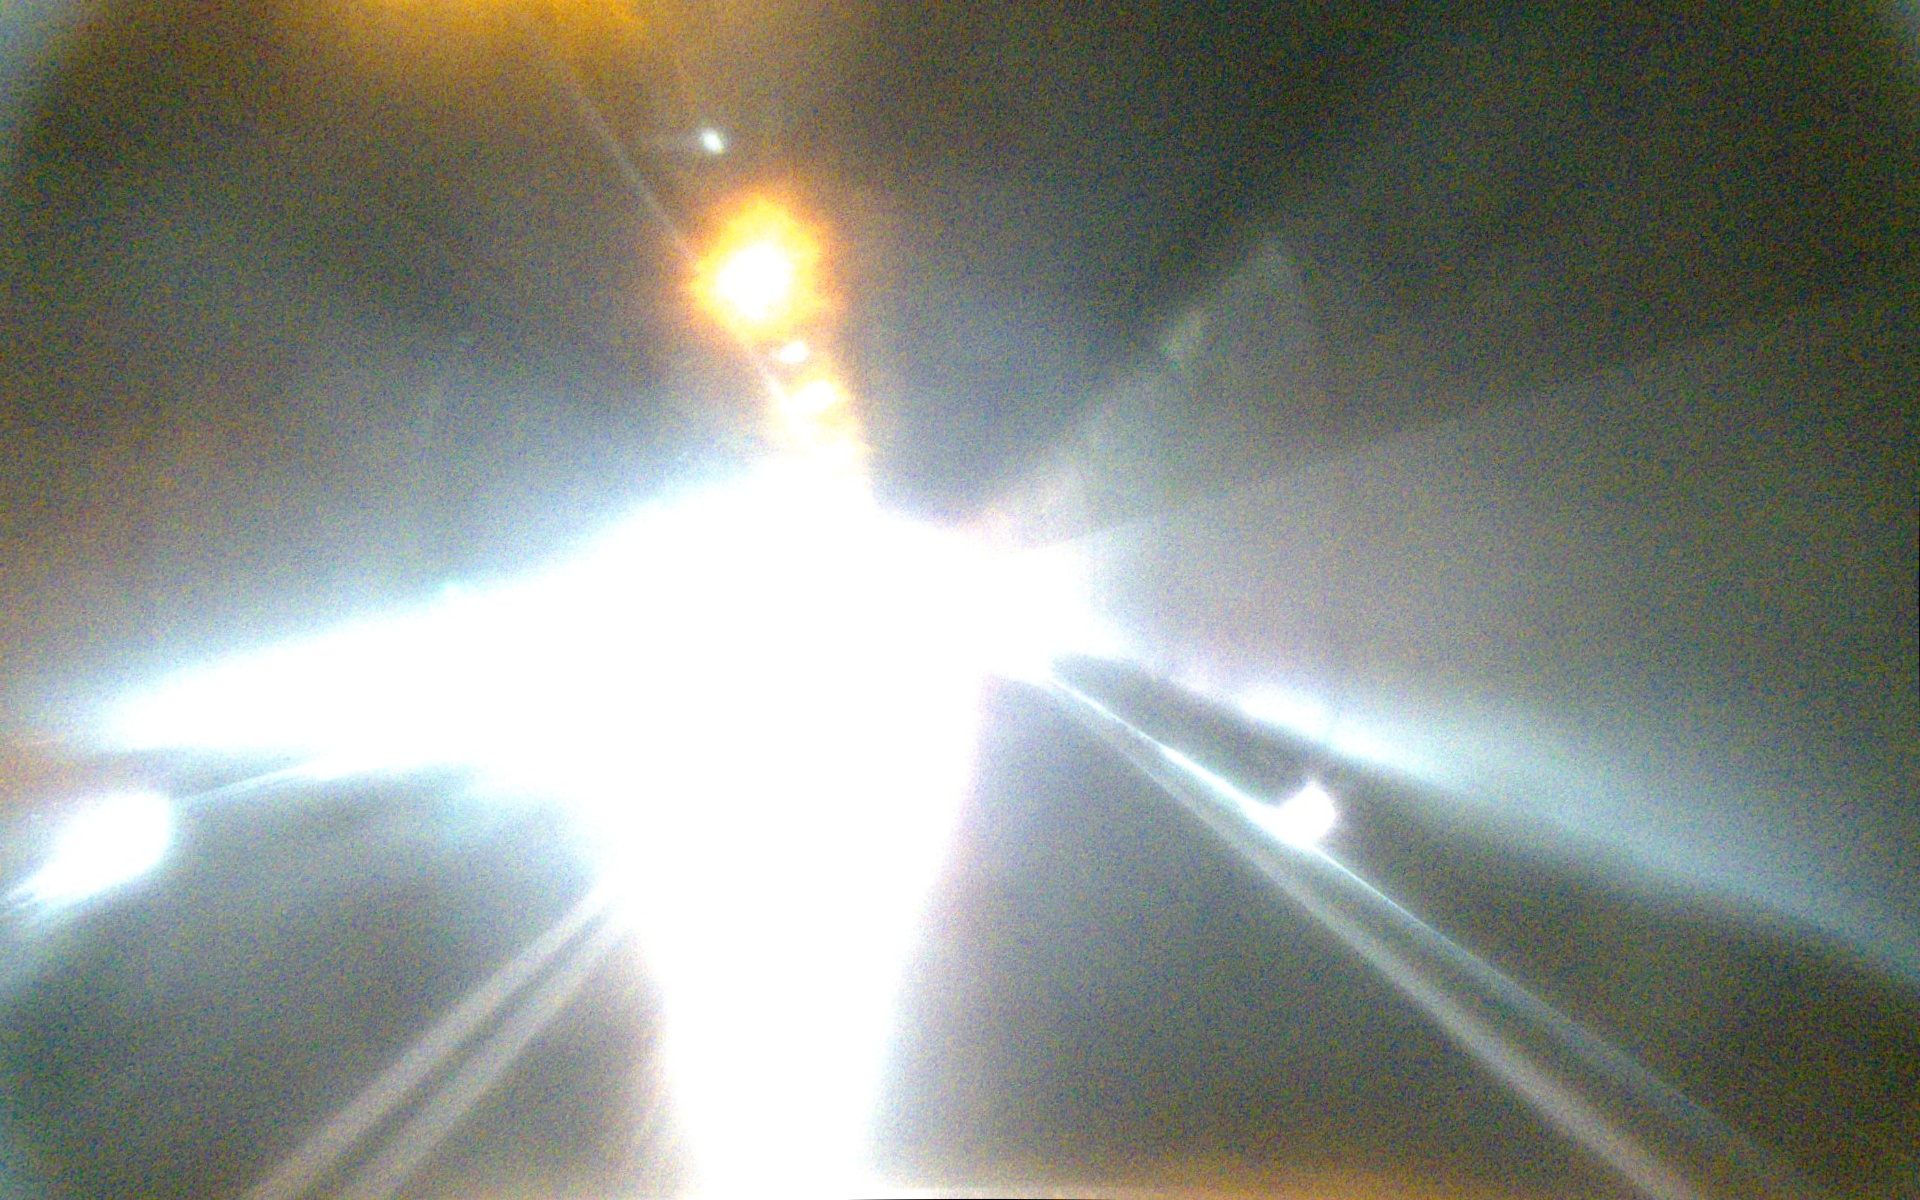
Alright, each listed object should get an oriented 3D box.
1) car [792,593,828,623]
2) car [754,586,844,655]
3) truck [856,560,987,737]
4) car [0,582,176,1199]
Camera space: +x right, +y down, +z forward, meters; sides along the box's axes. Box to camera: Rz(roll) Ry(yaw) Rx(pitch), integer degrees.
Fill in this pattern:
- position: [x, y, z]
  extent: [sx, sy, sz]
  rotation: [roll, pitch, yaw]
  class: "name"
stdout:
- position: [-7.781, 0.403, 86.130]
  extent: [1.622, 1.519, 3.837]
  rotation: [2, 0, -2]
  class: "car"
- position: [-3.725, 0.450, 38.842]
  extent: [1.776, 1.508, 4.200]
  rotation: [0, 0, -1]
  class: "car"
- position: [-0.731, 0.859, 33.011]
  extent: [2.216, 3.063, 7.413]
  rotation: [2, 0, -1]
  class: "truck"
- position: [-3.003, 0.710, 2.674]
  extent: [1.626, 1.516, 3.962]
  rotation: [1, 0, -1]
  class: "car"
